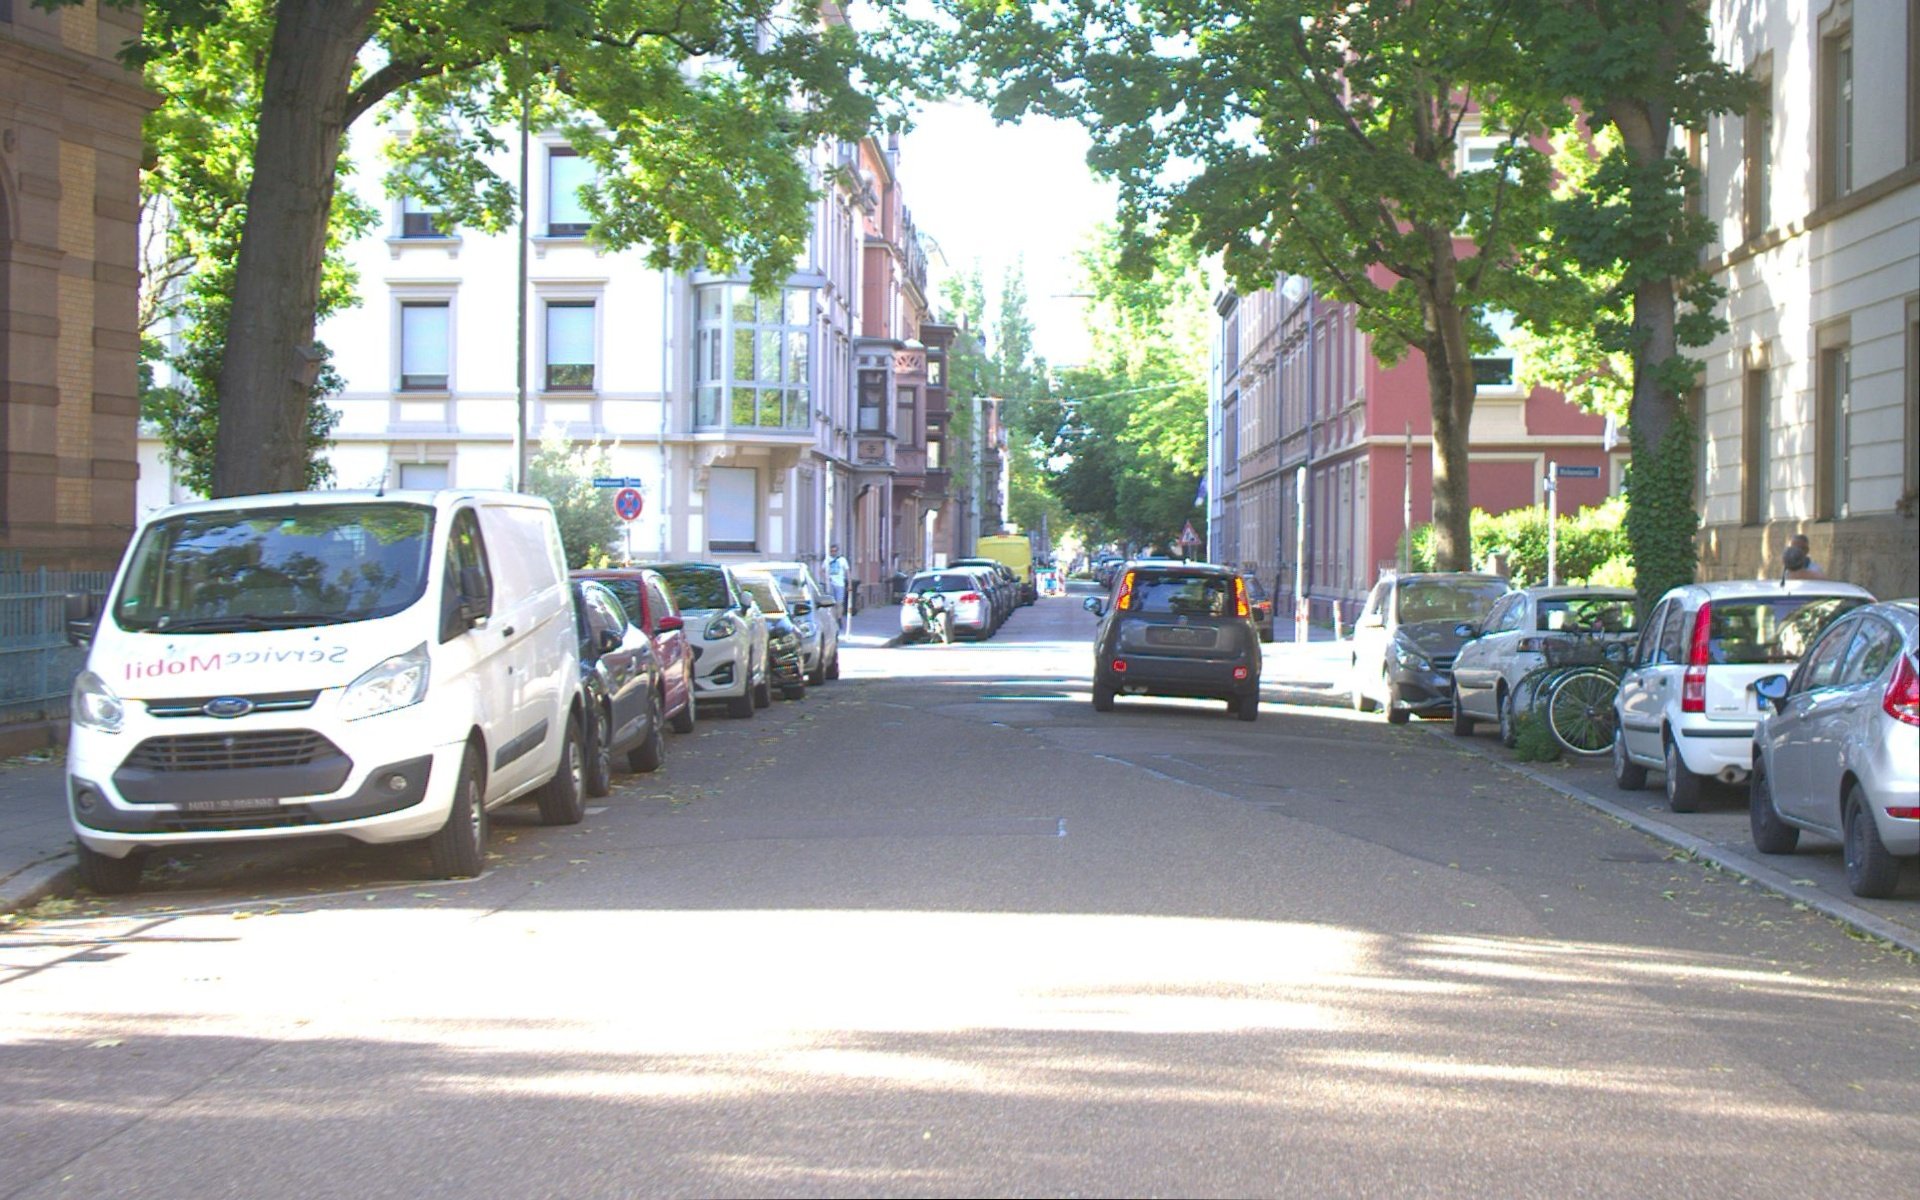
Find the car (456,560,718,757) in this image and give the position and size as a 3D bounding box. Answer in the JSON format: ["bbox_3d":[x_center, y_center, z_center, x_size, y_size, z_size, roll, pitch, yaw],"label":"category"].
[{"bbox_3d":[-3.085,0.441,29.102,1.602,1.455,4.027,-3,1,2],"label":"car"}]

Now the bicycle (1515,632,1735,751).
[{"bbox_3d":[5.552,0.760,28.769,1.715,0.946,0.733,-1,1,3],"label":"bicycle"}]

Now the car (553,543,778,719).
[{"bbox_3d":[-2.878,0.268,34.429,1.825,1.548,4.134,-3,1,0],"label":"car"}]

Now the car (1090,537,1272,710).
[{"bbox_3d":[2.181,0.197,34.565,1.633,1.544,3.264,2,2,1],"label":"car"}]

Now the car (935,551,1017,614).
[{"bbox_3d":[0.424,-0.469,87.446,1.829,1.474,3.924,-3,1,3],"label":"car"}]

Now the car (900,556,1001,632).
[{"bbox_3d":[-0.164,-0.144,71.053,1.797,1.427,3.924,-3,1,3],"label":"car"}]

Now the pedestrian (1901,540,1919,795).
[{"bbox_3d":[6.779,0.454,23.460,0.520,1.729,0.878,0,1,4],"label":"pedestrian"}]

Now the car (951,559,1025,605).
[{"bbox_3d":[0.844,-0.538,101.889,1.962,1.220,3.924,-3,1,3],"label":"car"}]

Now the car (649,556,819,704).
[{"bbox_3d":[-2.570,0.298,39.330,1.746,1.469,4.465,-4,1,-3],"label":"car"}]

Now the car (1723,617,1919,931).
[{"bbox_3d":[5.207,0.822,18.095,1.622,1.389,4.157,0,1,2],"label":"car"}]

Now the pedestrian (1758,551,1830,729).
[{"bbox_3d":[8.093,0.376,33.372,0.489,1.700,0.757,1,1,1],"label":"pedestrian"}]

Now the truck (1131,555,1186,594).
[{"bbox_3d":[7.594,-0.976,131.693,1.993,1.452,4.000,0,1,2],"label":"truck"}]

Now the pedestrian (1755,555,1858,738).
[{"bbox_3d":[7.997,0.426,32.510,0.778,1.688,0.874,1,1,5],"label":"pedestrian"}]

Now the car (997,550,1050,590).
[{"bbox_3d":[2.579,-1.211,138.870,1.962,1.474,3.924,-3,1,3],"label":"car"}]

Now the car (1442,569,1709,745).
[{"bbox_3d":[5.559,0.473,31.455,1.610,1.473,3.871,0,1,-2],"label":"car"}]

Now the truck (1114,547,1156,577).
[{"bbox_3d":[8.710,-1.882,171.248,1.993,1.452,4.000,0,1,2],"label":"truck"}]

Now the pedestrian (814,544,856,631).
[{"bbox_3d":[-2.672,-0.275,73.340,0.723,1.833,0.626,2,1,13],"label":"pedestrian"}]

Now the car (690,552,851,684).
[{"bbox_3d":[-2.404,0.197,44.428,1.696,1.545,3.919,-3,1,1],"label":"car"}]

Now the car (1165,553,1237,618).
[{"bbox_3d":[5.857,-0.370,83.825,1.663,1.500,3.756,1,1,3],"label":"car"}]

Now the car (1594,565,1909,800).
[{"bbox_3d":[5.447,0.514,24.020,1.520,1.505,3.543,0,1,3],"label":"car"}]

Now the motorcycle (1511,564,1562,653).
[{"bbox_3d":[9.891,0.132,58.947,0.827,1.399,2.555,0,3,10],"label":"motorcycle"}]

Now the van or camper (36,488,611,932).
[{"bbox_3d":[-3.230,0.479,18.678,1.921,1.973,5.462,-3,1,1],"label":"van or camper"}]

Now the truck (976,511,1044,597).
[{"bbox_3d":[1.818,-1.648,123.618,2.070,2.916,5.067,-3,1,3],"label":"truck"}]

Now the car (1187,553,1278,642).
[{"bbox_3d":[5.385,-0.081,68.338,1.663,1.663,3.756,1,1,3],"label":"car"}]

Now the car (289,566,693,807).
[{"bbox_3d":[-3.168,0.530,24.199,2.001,1.452,4.606,-2,1,2],"label":"car"}]

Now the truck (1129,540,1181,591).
[{"bbox_3d":[7.750,-1.379,137.067,1.993,1.985,4.000,0,1,2],"label":"truck"}]

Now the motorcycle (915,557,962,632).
[{"bbox_3d":[-0.425,-0.118,67.764,0.696,1.455,1.751,-1,1,-7],"label":"motorcycle"}]

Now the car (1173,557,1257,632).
[{"bbox_3d":[5.386,-0.134,72.836,1.663,1.500,3.756,1,1,3],"label":"car"}]

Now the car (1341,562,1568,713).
[{"bbox_3d":[5.349,0.361,37.690,1.789,1.545,4.410,1,1,-1],"label":"car"}]

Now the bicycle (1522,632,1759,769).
[{"bbox_3d":[5.442,0.801,27.551,1.770,1.036,0.606,1,1,3],"label":"bicycle"}]
